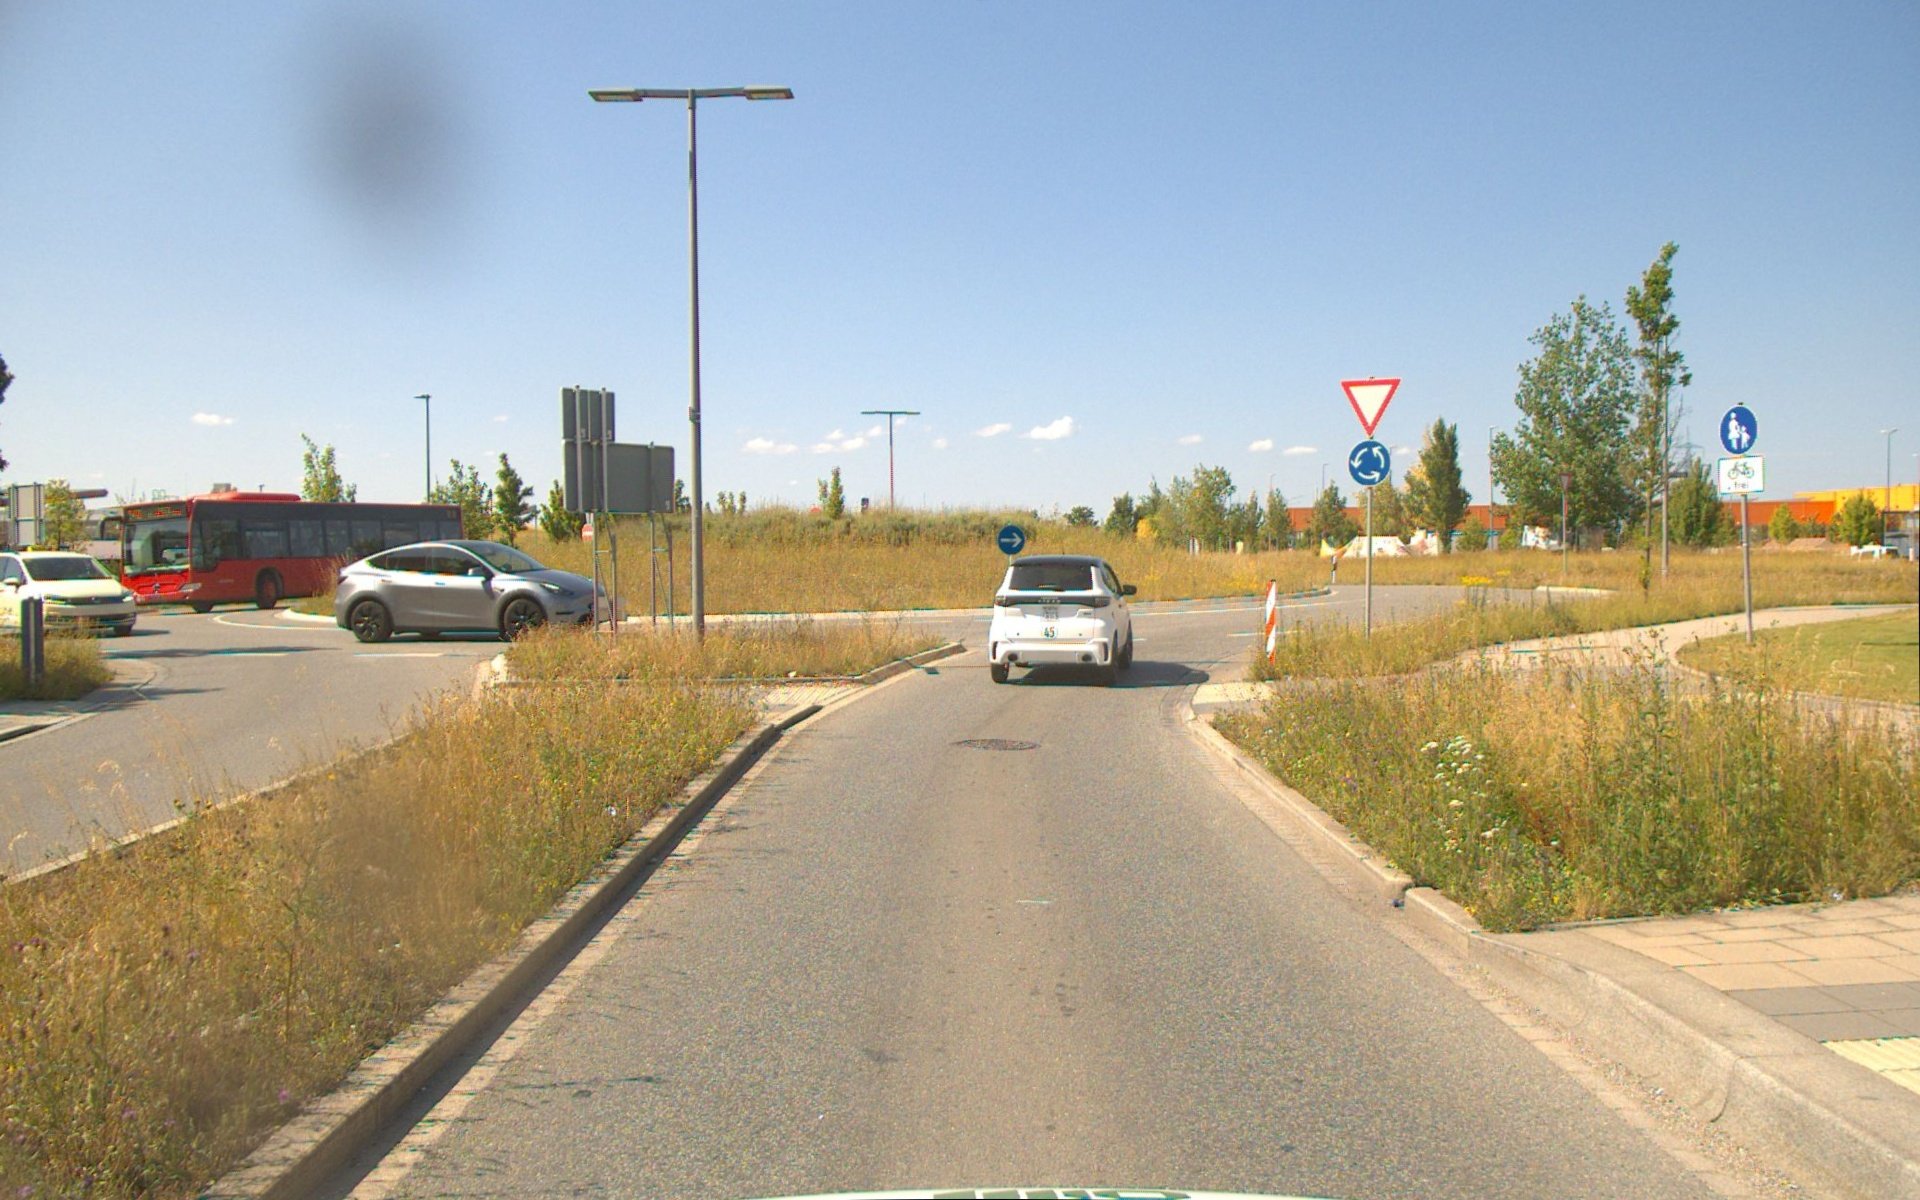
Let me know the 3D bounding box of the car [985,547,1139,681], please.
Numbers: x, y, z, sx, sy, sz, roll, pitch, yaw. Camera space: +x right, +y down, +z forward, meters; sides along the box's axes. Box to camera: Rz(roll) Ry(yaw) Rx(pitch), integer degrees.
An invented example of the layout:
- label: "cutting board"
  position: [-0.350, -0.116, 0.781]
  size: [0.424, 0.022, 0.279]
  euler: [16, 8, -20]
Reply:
- label: "car"
  position: [1.366, 0.101, 20.794]
  size: [1.582, 1.459, 3.797]
  euler: [0, 3, 9]

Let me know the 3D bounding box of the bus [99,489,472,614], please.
- label: "bus"
  position: [-19.005, -1.546, 48.114]
  size: [2.728, 3.132, 12.213]
  euler: [-1, 3, 18]

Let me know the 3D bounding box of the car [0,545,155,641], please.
- label: "car"
  position: [-17.788, -0.120, 32.155]
  size: [4.496, 1.694, 1.841]
  euler: [-1, 3, 35]

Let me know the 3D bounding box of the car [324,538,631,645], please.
- label: "car"
  position: [-7.980, -0.179, 27.472]
  size: [4.511, 1.654, 1.965]
  euler: [0, 3, 16]
